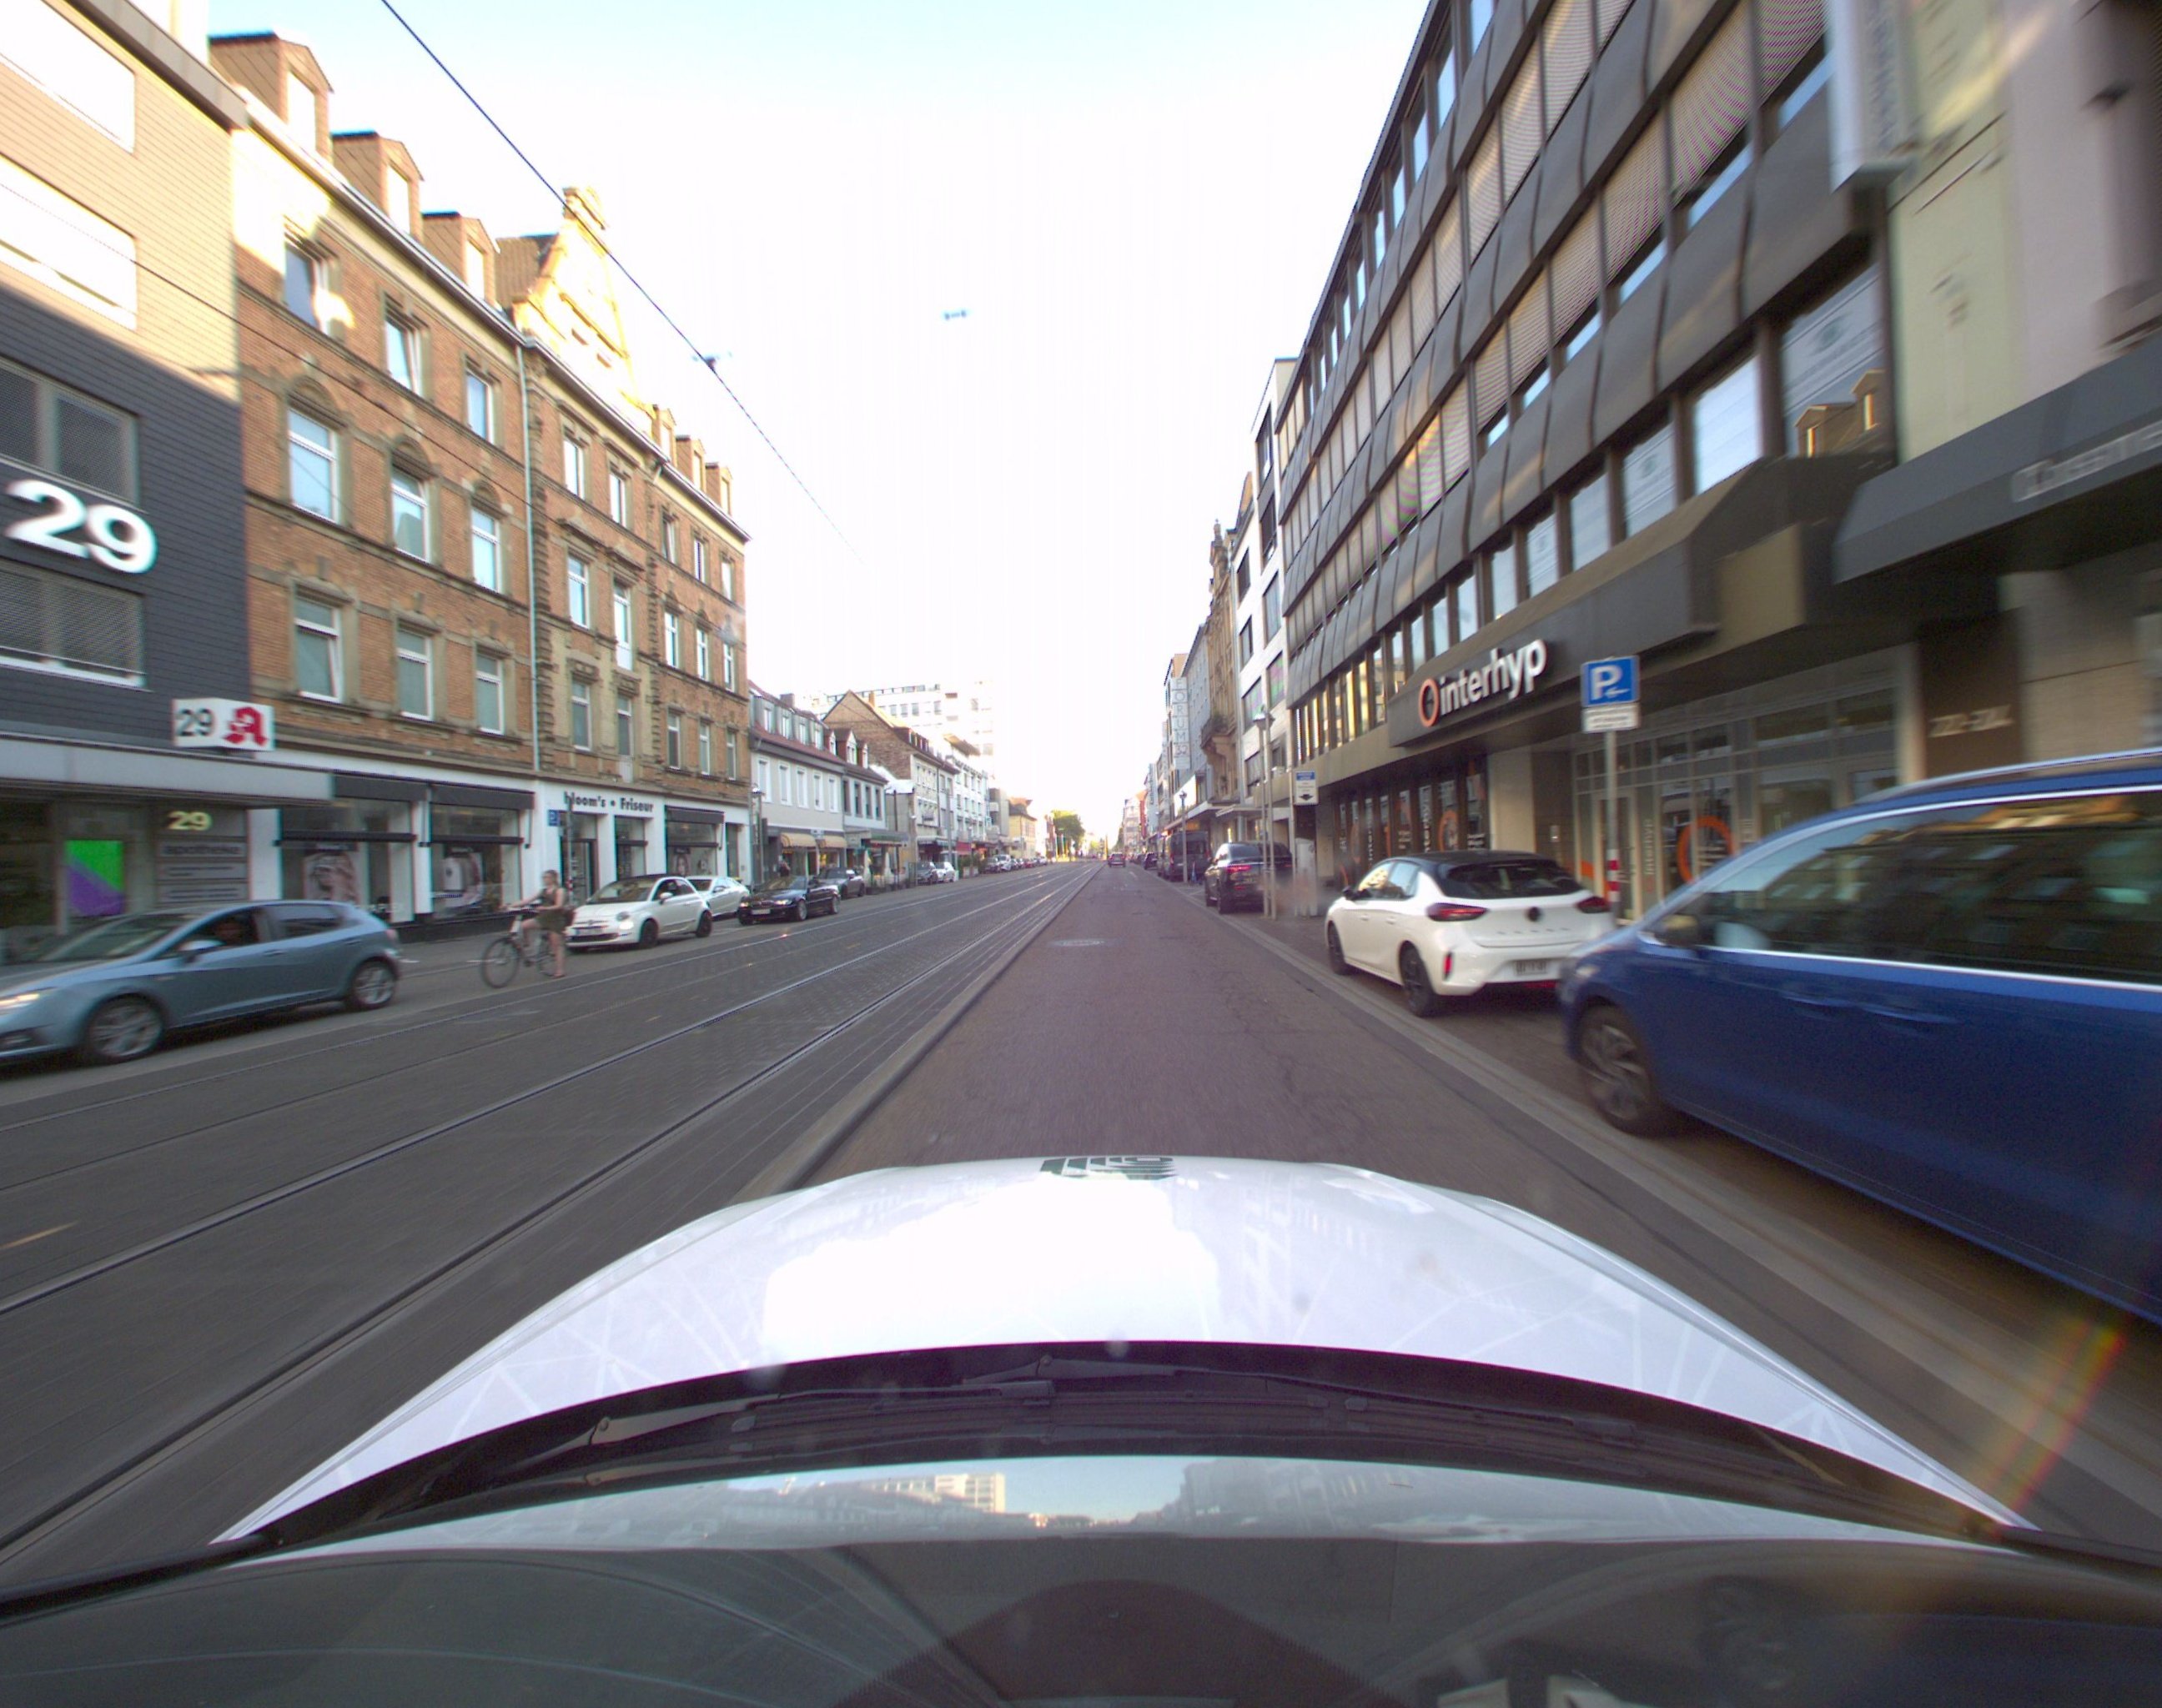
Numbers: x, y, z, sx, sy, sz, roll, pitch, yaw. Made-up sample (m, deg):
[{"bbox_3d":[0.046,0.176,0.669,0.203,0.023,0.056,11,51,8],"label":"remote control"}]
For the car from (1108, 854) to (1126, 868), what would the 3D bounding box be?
[{"bbox_3d":[4.130,0.794,92.426,1.935,1.545,4.548,-2,0,3],"label":"car"}]

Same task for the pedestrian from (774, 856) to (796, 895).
[{"bbox_3d":[-13.514,0.974,37.244,0.645,1.772,0.855,-1,0,3],"label":"pedestrian"}]

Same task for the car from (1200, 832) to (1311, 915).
[{"bbox_3d":[4.294,0.437,20.840,1.976,1.734,4.675,-5,0,3],"label":"car"}]

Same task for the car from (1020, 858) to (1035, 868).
[{"bbox_3d":[-7.609,1.280,116.802,1.784,1.339,3.893,0,0,2],"label":"car"}]

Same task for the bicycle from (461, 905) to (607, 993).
[{"bbox_3d":[-7.990,1.344,12.035,0.691,1.034,2.082,-2,0,1],"label":"bicycle"}]

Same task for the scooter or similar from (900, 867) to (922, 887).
[{"bbox_3d":[-10.508,1.404,50.359,1.308,1.205,0.294,0,0,3],"label":"scooter or similar"}]

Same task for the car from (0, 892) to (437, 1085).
[{"bbox_3d":[-9.511,1.255,8.723,1.751,1.386,4.064,-5,0,3],"label":"car"}]

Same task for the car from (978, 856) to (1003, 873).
[{"bbox_3d":[-9.387,1.060,85.039,1.909,1.763,4.433,0,0,3],"label":"car"}]

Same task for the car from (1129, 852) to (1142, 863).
[{"bbox_3d":[8.857,0.575,132.755,1.936,1.703,4.548,-4,0,3],"label":"car"}]

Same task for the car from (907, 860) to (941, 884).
[{"bbox_3d":[-10.288,1.158,53.575,1.585,1.504,2.813,0,0,2],"label":"car"}]

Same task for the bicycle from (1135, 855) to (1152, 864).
[{"bbox_3d":[8.252,0.724,107.528,2.112,1.090,0.591,-3,0,-1],"label":"bicycle"}]

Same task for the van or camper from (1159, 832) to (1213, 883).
[{"bbox_3d":[5.544,0.172,43.978,2.180,2.426,6.135,-5,0,2],"label":"van or camper"}]

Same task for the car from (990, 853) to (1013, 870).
[{"bbox_3d":[-8.984,0.825,92.740,1.909,1.936,4.845,0,0,3],"label":"car"}]

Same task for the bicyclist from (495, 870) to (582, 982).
[{"bbox_3d":[-8.006,1.034,12.045,0.691,1.565,0.799,-2,0,1],"label":"bicyclist"}]

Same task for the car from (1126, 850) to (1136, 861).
[{"bbox_3d":[10.489,0.370,171.240,1.936,2.145,4.548,-4,0,3],"label":"car"}]

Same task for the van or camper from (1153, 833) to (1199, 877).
[{"bbox_3d":[5.784,0.079,50.291,2.181,2.426,5.519,-5,0,1],"label":"van or camper"}]

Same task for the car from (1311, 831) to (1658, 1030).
[{"bbox_3d":[3.839,0.630,8.586,1.759,1.485,3.874,-5,0,2],"label":"car"}]

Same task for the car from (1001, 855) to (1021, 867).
[{"bbox_3d":[-8.646,0.857,100.670,1.910,1.521,4.631,0,0,2],"label":"car"}]

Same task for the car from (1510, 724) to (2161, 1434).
[{"bbox_3d":[3.562,0.481,2.750,1.907,1.717,4.567,-5,0,3],"label":"car"}]

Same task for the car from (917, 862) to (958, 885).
[{"bbox_3d":[-10.186,1.359,58.095,1.842,1.504,4.845,0,0,3],"label":"car"}]

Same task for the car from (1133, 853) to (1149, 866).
[{"bbox_3d":[8.065,0.768,109.608,1.936,1.545,4.548,-4,0,3],"label":"car"}]

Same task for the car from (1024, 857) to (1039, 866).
[{"bbox_3d":[-7.400,1.091,122.067,1.784,1.339,3.893,0,0,2],"label":"car"}]

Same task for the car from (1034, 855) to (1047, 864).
[{"bbox_3d":[-6.693,0.939,135.331,1.784,1.449,3.893,0,0,2],"label":"car"}]

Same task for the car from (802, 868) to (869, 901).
[{"bbox_3d":[-11.284,1.367,37.649,1.727,1.389,3.867,0,0,3],"label":"car"}]

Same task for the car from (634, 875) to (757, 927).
[{"bbox_3d":[-11.867,1.396,25.419,1.753,1.389,4.274,0,0,0],"label":"car"}]

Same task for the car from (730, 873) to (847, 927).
[{"bbox_3d":[-8.450,1.292,23.944,1.660,1.228,4.276,-5,0,2],"label":"car"}]

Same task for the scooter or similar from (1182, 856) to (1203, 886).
[{"bbox_3d":[4.955,0.737,36.041,0.350,1.224,1.123,-5,-1,35],"label":"scooter or similar"}]

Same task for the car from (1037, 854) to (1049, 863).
[{"bbox_3d":[-6.644,0.759,141.378,1.784,1.449,3.893,0,0,2],"label":"car"}]

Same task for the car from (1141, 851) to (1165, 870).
[{"bbox_3d":[6.418,0.577,73.027,1.936,1.545,4.548,-4,0,3],"label":"car"}]

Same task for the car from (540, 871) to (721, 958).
[{"bbox_3d":[-9.536,1.208,17.600,1.661,1.505,3.682,-5,0,2],"label":"car"}]
